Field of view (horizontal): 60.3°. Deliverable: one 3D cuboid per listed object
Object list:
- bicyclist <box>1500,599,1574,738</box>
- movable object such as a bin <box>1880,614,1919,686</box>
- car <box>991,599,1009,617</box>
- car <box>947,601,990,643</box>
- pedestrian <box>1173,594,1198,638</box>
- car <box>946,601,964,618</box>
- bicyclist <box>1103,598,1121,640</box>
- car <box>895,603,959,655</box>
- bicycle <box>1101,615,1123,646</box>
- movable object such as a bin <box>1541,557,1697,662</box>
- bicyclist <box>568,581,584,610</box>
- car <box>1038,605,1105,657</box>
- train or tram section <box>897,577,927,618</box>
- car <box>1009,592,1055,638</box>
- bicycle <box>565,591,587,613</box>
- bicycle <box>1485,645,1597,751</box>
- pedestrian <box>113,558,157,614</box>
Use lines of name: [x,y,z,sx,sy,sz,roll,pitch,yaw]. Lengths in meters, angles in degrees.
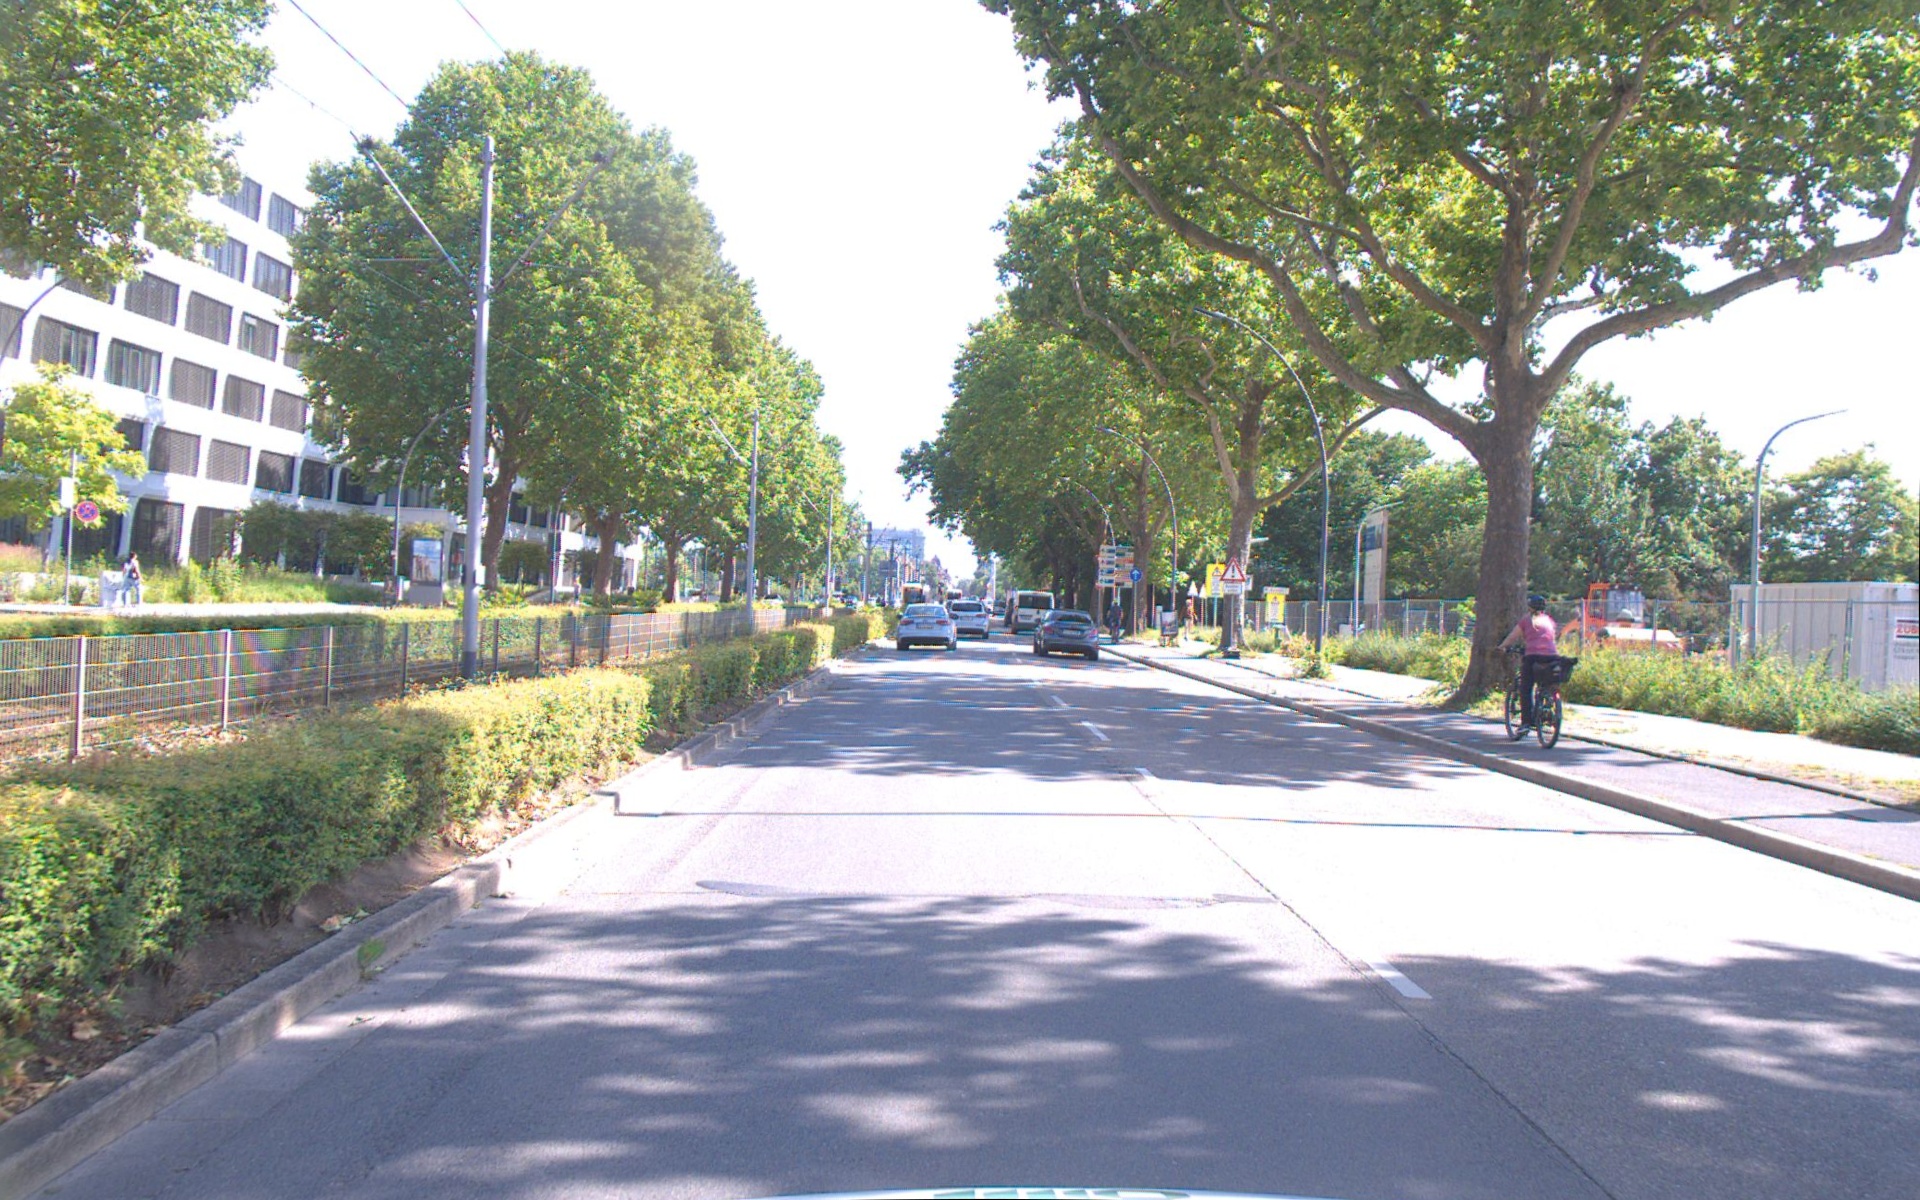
bicyclist: [6.870,0.801,19.724,0.607,1.628,0.732,0,0,-1]
movable object such as a bin: [42.703,2.230,70.488,5.070,3.027,3.294,3,0,1]
car: [4.889,0.933,201.383,2.029,2.034,4.058,3,0,1]
car: [0.388,0.921,70.233,1.694,1.633,3.885,3,0,1]
pedestrian: [10.238,0.718,75.097,0.919,1.925,1.151,2,0,1]
car: [-0.513,0.965,172.848,1.694,1.659,4.000,3,0,1]
bicyclist: [6.164,0.778,67.158,0.621,1.677,0.979,0,1,0]
car: [-0.979,0.870,50.991,1.748,1.445,3.885,3,0,1]
bicycle: [6.161,1.221,67.173,0.700,1.168,2.178,0,2,0]
movable object such as a bin: [21.239,0.279,53.641,2.322,3.125,5.983,3,0,-2]
bicyclist: [-20.803,-0.257,89.642,0.641,1.561,0.641,3,0,1]
car: [3.338,0.914,50.082,1.746,1.445,4.000,3,0,1]
train or tram section: [-5.048,-0.232,174.617,2.563,4.085,7.750,3,0,1]
car: [3.757,0.750,86.665,2.184,2.250,4.162,3,0,1]
bicycle: [-20.809,0.111,89.611,0.650,1.144,2.031,3,0,1]
bicycle: [6.891,1.137,19.707,0.638,1.149,1.945,1,0,0]
pedestrian: [-24.562,-0.401,49.249,0.705,1.616,1.015,3,0,1]
